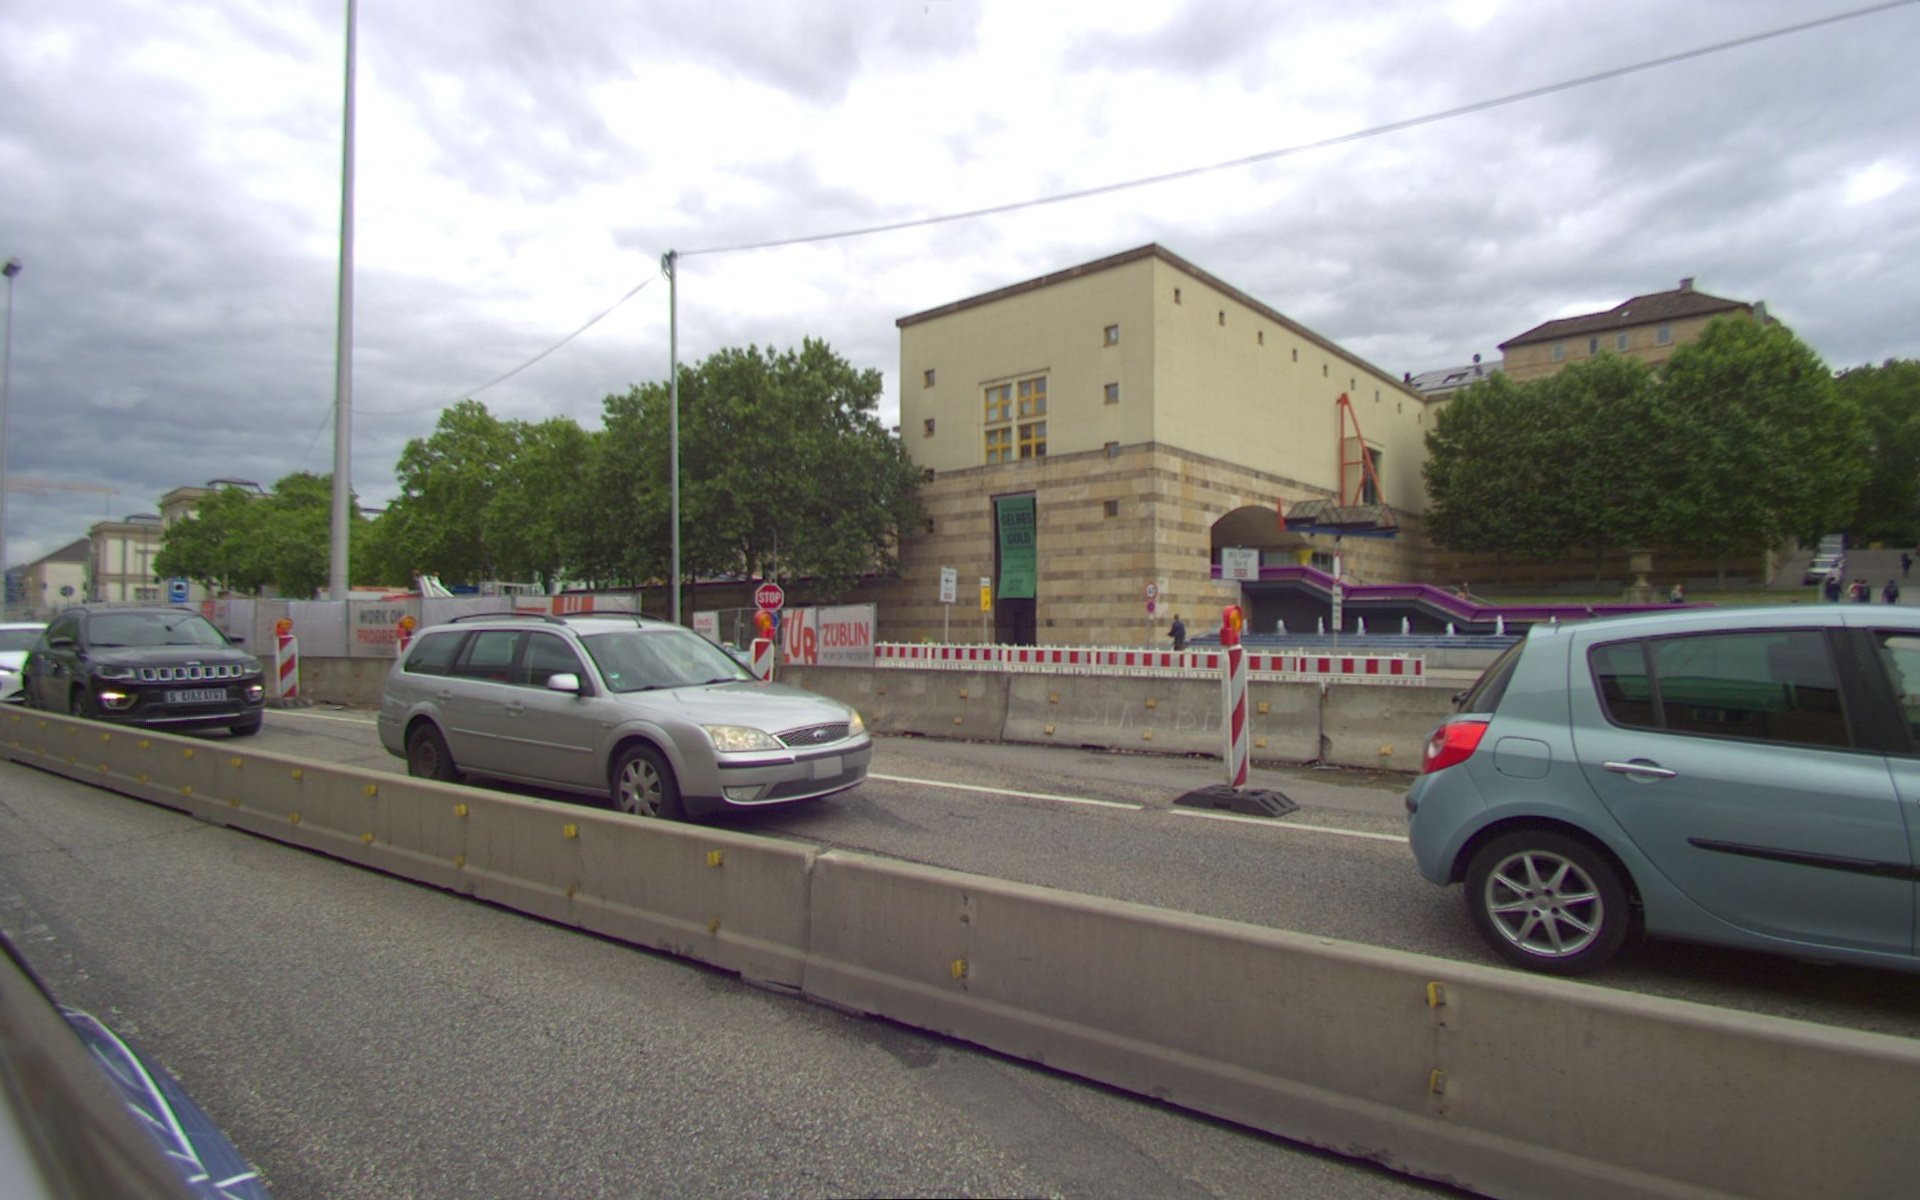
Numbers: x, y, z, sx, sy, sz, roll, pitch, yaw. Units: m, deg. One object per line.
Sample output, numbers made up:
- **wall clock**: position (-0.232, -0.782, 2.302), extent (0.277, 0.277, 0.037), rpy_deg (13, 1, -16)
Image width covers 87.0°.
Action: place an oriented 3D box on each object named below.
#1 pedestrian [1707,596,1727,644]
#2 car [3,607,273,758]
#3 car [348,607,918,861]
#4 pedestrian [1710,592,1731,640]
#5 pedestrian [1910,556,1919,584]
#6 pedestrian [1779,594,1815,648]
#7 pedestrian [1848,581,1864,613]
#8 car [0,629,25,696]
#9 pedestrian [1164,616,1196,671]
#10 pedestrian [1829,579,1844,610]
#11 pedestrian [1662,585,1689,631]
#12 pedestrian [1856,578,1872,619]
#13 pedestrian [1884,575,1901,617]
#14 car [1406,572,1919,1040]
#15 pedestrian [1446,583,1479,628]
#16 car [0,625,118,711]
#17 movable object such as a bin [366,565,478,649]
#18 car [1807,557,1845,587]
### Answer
- **pedestrian**: position (26.917, 0.705, 35.992), extent (0.526, 1.708, 0.338), rpy_deg (-1, -1, 41)
- **car**: position (-10.534, 0.918, 12.885), extent (4.039, 1.633, 1.760), rpy_deg (-1, -1, 37)
- **car**: position (-2.770, 0.830, 8.082), extent (4.692, 1.492, 1.863), rpy_deg (-1, -1, 34)
- **pedestrian**: position (27.349, 0.585, 36.396), extent (0.526, 1.708, 0.689), rpy_deg (-1, -1, 41)
- **pedestrian**: position (61.733, -1.923, 65.329), extent (0.542, 1.798, 0.460), rpy_deg (-1, -1, 44)
- **pedestrian**: position (27.043, 0.682, 32.701), extent (0.517, 1.708, 0.700), rpy_deg (-1, -1, -22)
- **pedestrian**: position (40.226, -0.148, 45.444), extent (0.477, 1.433, 0.400), rpy_deg (-1, -1, 40)
- **car**: position (-23.006, 1.415, 23.106), extent (4.561, 1.426, 1.836), rpy_deg (-1, 0, 39)
- **pedestrian**: position (8.288, 1.626, 38.126), extent (0.814, 2.029, 0.836), rpy_deg (-1, 0, 42)
- **pedestrian**: position (40.277, -0.244, 46.511), extent (0.477, 1.433, 0.400), rpy_deg (-1, -1, 40)
- **pedestrian**: position (29.761, 0.317, 42.098), extent (0.804, 1.866, 0.684), rpy_deg (-1, 0, 42)
- **pedestrian**: position (39.534, -0.077, 44.254), extent (0.477, 1.762, 0.638), rpy_deg (-1, -1, 40)
- **pedestrian**: position (40.271, -0.171, 43.703), extent (0.477, 1.762, 0.638), rpy_deg (-1, -1, 40)
- **car**: position (3.889, 0.663, 3.752), extent (3.845, 1.518, 1.658), rpy_deg (-1, -1, 35)
- **pedestrian**: position (23.020, 0.243, 46.401), extent (0.907, 2.029, 1.094), rpy_deg (-2, 1, -44)
- **car**: position (-16.413, 1.126, 17.727), extent (3.928, 1.306, 1.710), rpy_deg (-1, -1, 37)
- **movable object such as a bin**: position (-15.026, 0.226, 28.237), extent (3.287, 2.202, 1.507), rpy_deg (-2, -2, 37)
- **car**: position (55.631, -1.778, 65.009), extent (1.611, 1.811, 3.752), rpy_deg (-2, -1, 44)
